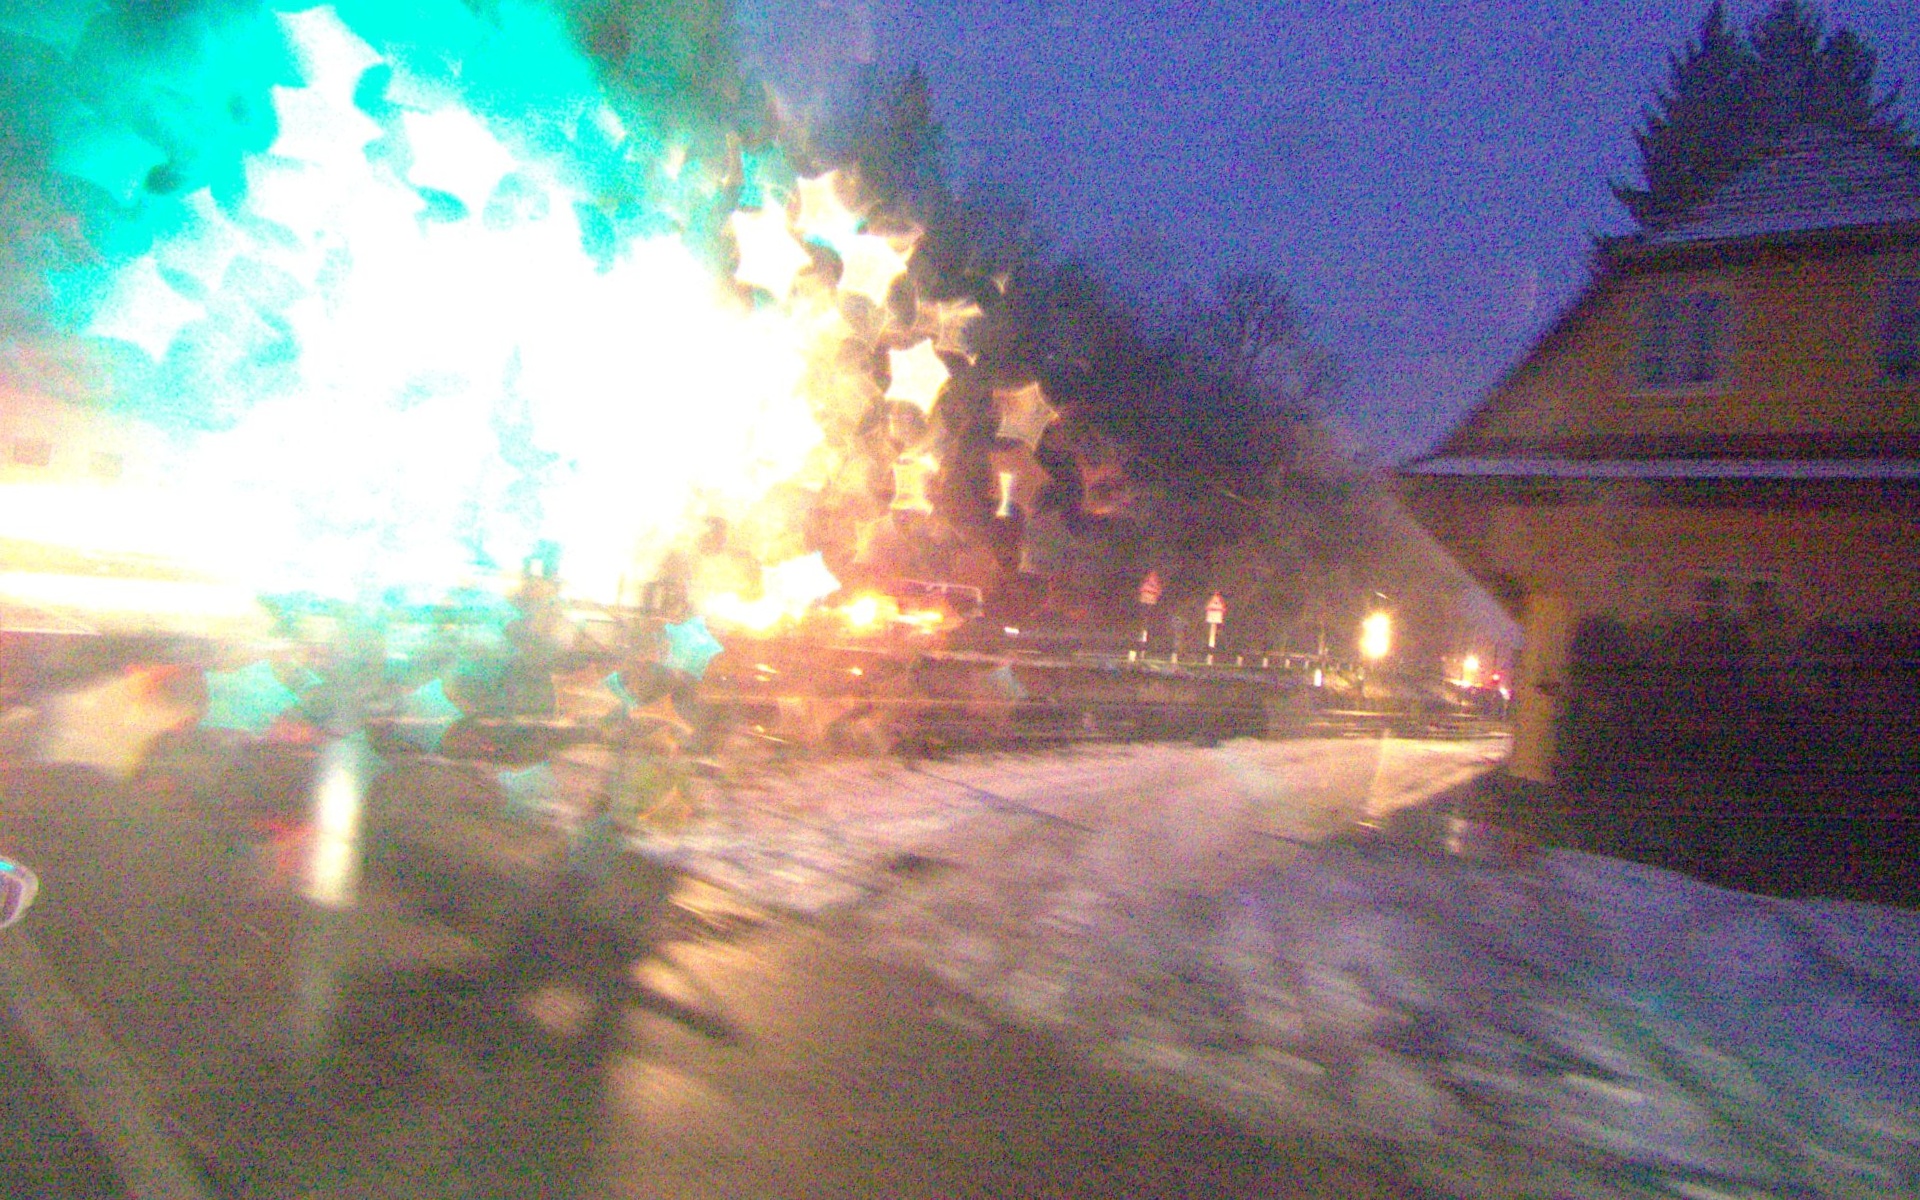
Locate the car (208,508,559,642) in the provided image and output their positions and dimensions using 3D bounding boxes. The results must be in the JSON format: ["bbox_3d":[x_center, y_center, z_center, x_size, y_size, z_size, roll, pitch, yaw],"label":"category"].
[{"bbox_3d":[-8.289,-0.265,14.976,1.880,1.529,4.240,7,0,19],"label":"car"}]

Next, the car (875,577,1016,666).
[{"bbox_3d":[-0.301,0.641,27.573,1.747,1.970,4.249,6,-2,30],"label":"car"}]

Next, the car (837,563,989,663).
[{"bbox_3d":[-1.382,0.479,31.877,2.140,2.468,4.854,6,-4,34],"label":"car"}]

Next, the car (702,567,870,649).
[{"bbox_3d":[-4.516,0.256,26.740,1.949,1.533,4.201,5,-4,33],"label":"car"}]
